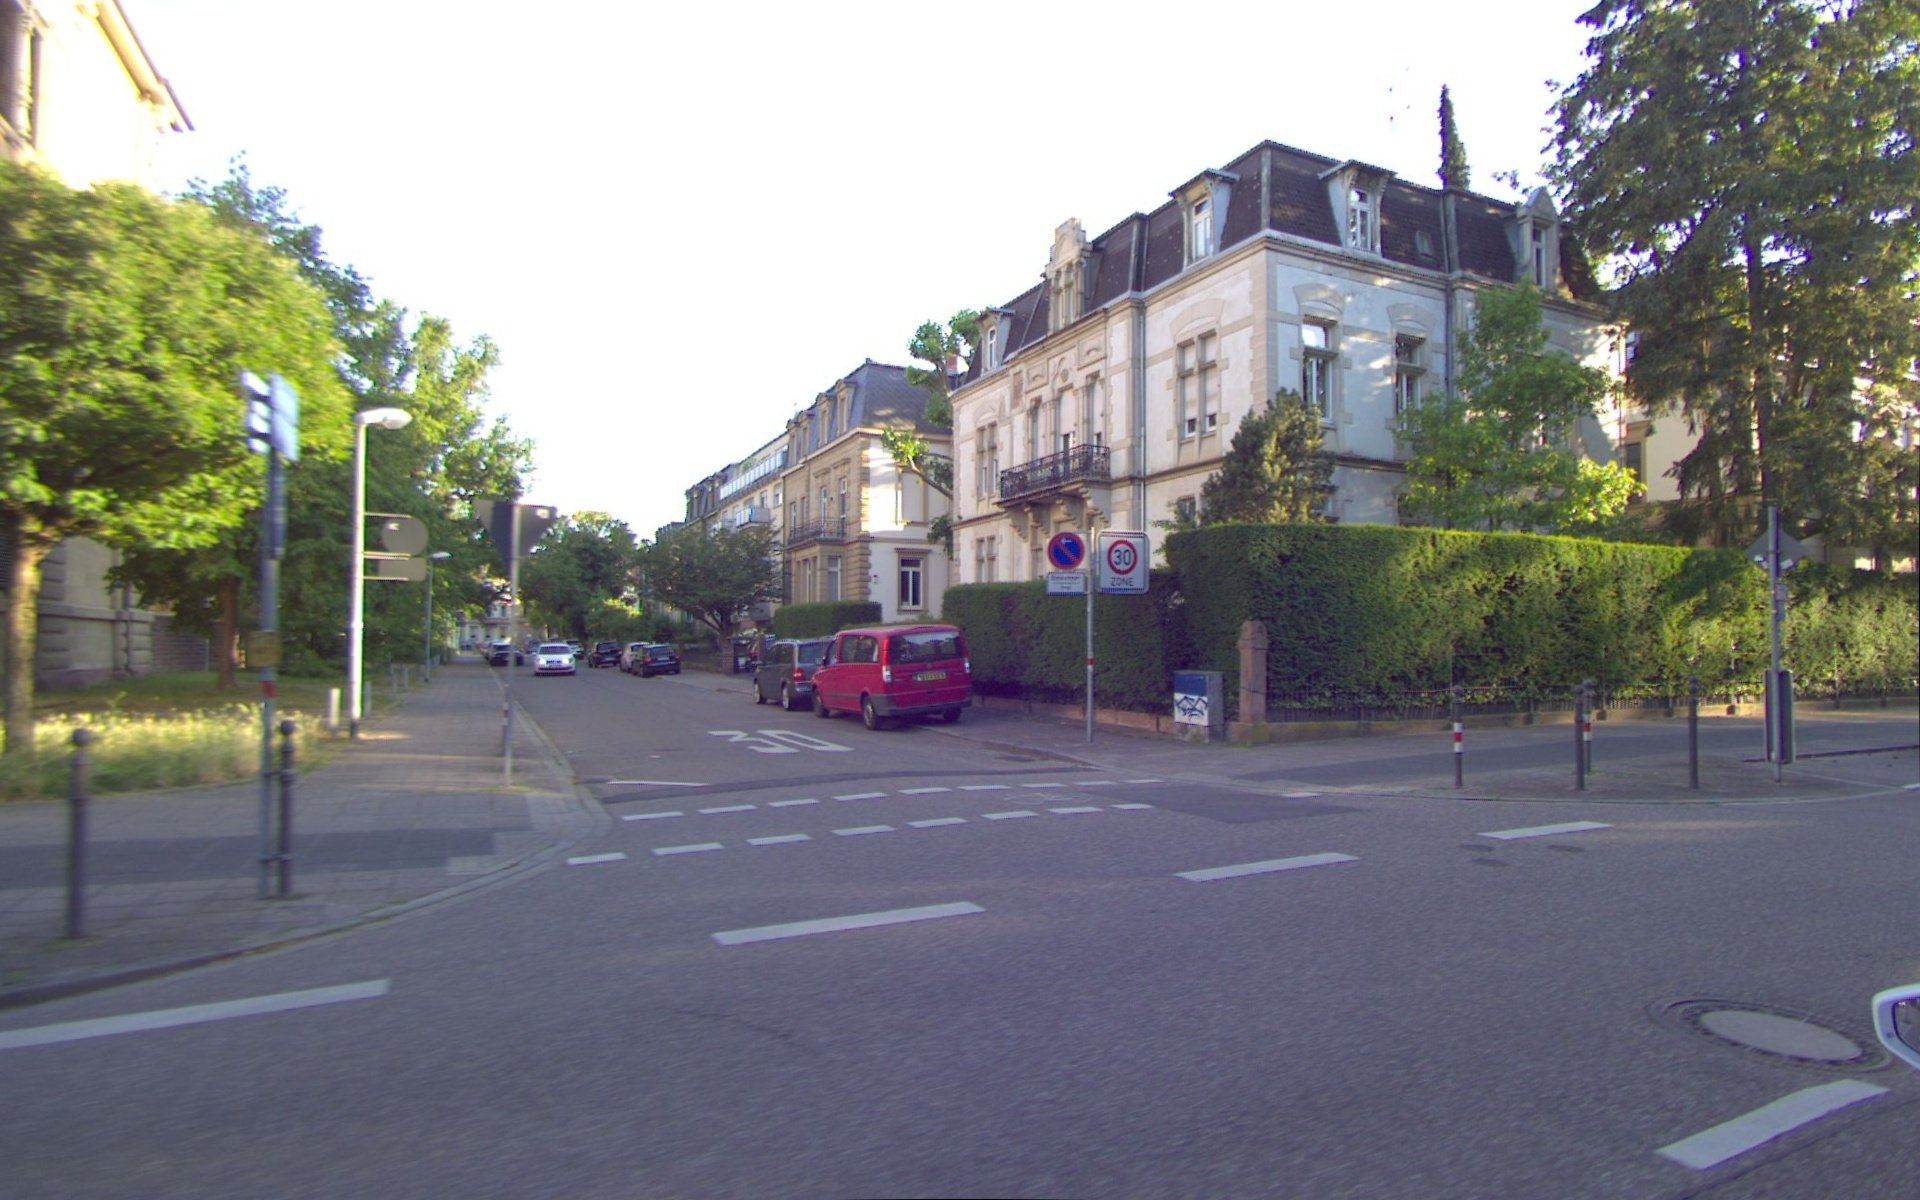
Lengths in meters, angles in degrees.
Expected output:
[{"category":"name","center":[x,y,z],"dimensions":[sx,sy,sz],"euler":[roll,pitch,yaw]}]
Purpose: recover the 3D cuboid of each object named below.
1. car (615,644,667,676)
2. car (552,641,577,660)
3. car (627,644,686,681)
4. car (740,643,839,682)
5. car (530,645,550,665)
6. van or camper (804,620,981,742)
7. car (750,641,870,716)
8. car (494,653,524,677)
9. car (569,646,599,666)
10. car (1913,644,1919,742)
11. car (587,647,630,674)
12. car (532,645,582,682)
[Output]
[{"category":"car","center":[-16.676,3.106,52.333],"dimensions":[1.974,1.599,3.973],"euler":[1,-3,-27]},{"category":"car","center":[-38.063,4.870,96.659],"dimensions":[1.835,1.639,3.972],"euler":[1,-1,-27]},{"category":"car","center":[-14.187,2.872,46.879],"dimensions":[1.974,1.599,3.973],"euler":[1,-3,-27]},{"category":"car","center":[-7.545,2.745,44.423],"dimensions":[3.945,1.483,1.988],"euler":[-2,-1,-25]},{"category":"car","center":[-55.192,7.232,131.948],"dimensions":[2.290,2.476,4.662],"euler":[1,-1,-25]},{"category":"van or camper","center":[-1.521,1.521,20.268],"dimensions":[1.972,2.012,4.757],"euler":[-4,-1,-24]},{"category":"car","center":[-3.805,1.866,24.968],"dimensions":[1.894,1.695,3.975],"euler":[1,-2,-25]},{"category":"car","center":[-30.095,4.328,67.006],"dimensions":[1.661,1.480,3.973],"euler":[1,-3,-27]},{"category":"car","center":[-31.885,4.735,85.051],"dimensions":[1.974,1.599,3.973],"euler":[1,-3,-27]},{"category":"car","center":[15.628,1.384,14.491],"dimensions":[3.666,1.534,1.608],"euler":[2,-4,-28]},{"category":"car","center":[-21.883,3.746,62.477],"dimensions":[1.974,1.599,3.973],"euler":[1,-3,-27]},{"category":"car","center":[-18.734,2.917,46.563],"dimensions":[1.973,1.594,3.977],"euler":[1,-2,-25]}]
